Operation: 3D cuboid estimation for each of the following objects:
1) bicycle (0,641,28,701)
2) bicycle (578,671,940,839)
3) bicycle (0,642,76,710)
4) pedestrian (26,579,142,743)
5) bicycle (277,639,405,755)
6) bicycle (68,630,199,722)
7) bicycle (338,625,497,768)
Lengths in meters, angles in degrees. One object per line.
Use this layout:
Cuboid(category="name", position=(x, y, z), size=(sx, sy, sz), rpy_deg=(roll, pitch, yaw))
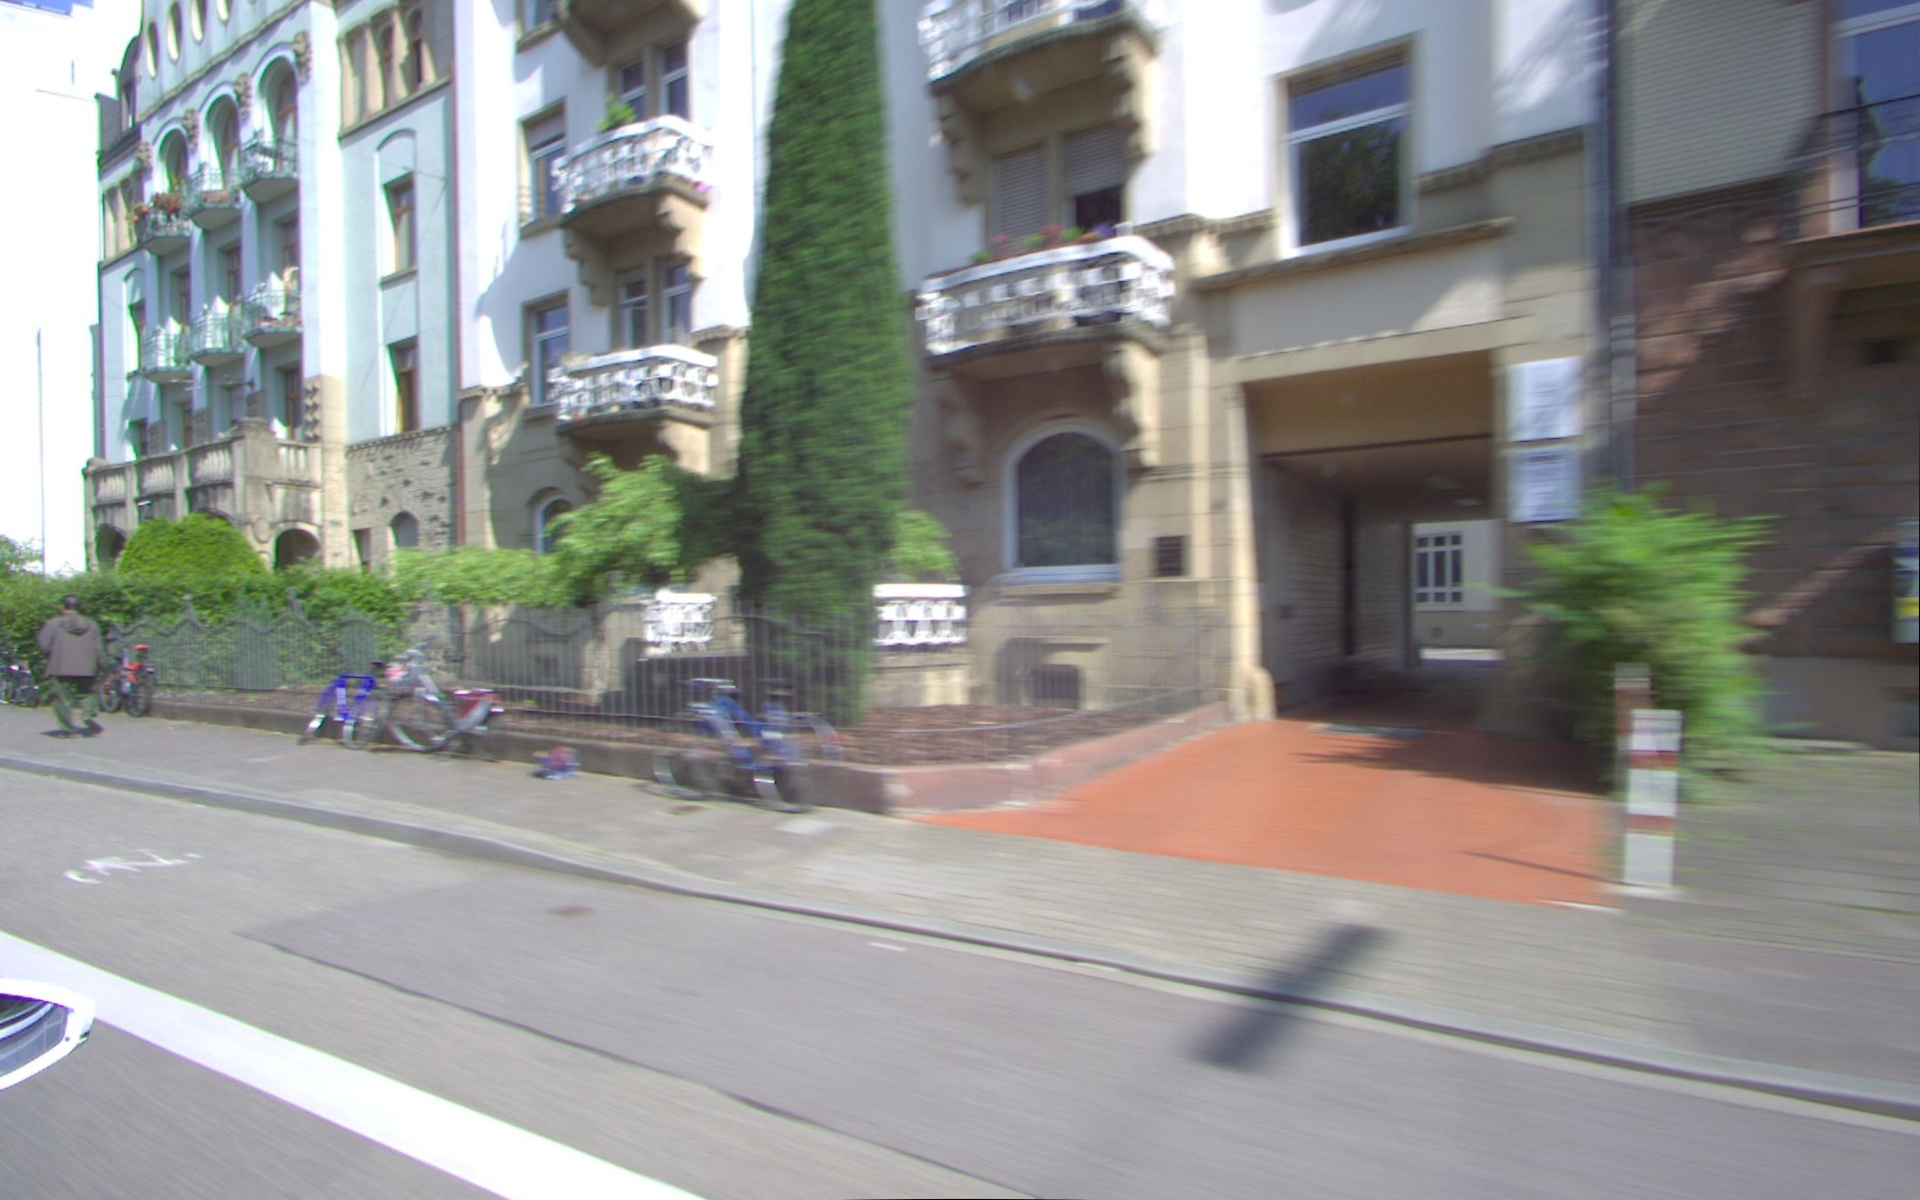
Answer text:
Cuboid(category="bicycle", position=(-17.040, 1.227, 17.504), size=(1.846, 1.002, 0.611), rpy_deg=(-1, 1, 33))
Cuboid(category="bicycle", position=(-1.614, 1.095, 7.617), size=(3.020, 0.974, 0.597), rpy_deg=(-1, 3, 30))
Cuboid(category="bicycle", position=(-15.098, 1.196, 16.148), size=(2.329, 1.009, 0.609), rpy_deg=(-1, 2, 33))
Cuboid(category="pedestrian", position=(-10.609, 0.715, 12.144), size=(0.571, 1.887, 0.787), rpy_deg=(-1, 4, 26))
Cuboid(category="bicycle", position=(-6.778, 1.017, 10.931), size=(1.818, 1.138, 0.449), rpy_deg=(0, 2, 34))
Cuboid(category="bicycle", position=(-12.051, 1.070, 14.568), size=(2.480, 1.247, 0.739), rpy_deg=(-1, -1, 32))
Cuboid(category="bicycle", position=(-5.329, 0.901, 9.795), size=(1.816, 1.278, 0.450), rpy_deg=(0, 2, 30))
